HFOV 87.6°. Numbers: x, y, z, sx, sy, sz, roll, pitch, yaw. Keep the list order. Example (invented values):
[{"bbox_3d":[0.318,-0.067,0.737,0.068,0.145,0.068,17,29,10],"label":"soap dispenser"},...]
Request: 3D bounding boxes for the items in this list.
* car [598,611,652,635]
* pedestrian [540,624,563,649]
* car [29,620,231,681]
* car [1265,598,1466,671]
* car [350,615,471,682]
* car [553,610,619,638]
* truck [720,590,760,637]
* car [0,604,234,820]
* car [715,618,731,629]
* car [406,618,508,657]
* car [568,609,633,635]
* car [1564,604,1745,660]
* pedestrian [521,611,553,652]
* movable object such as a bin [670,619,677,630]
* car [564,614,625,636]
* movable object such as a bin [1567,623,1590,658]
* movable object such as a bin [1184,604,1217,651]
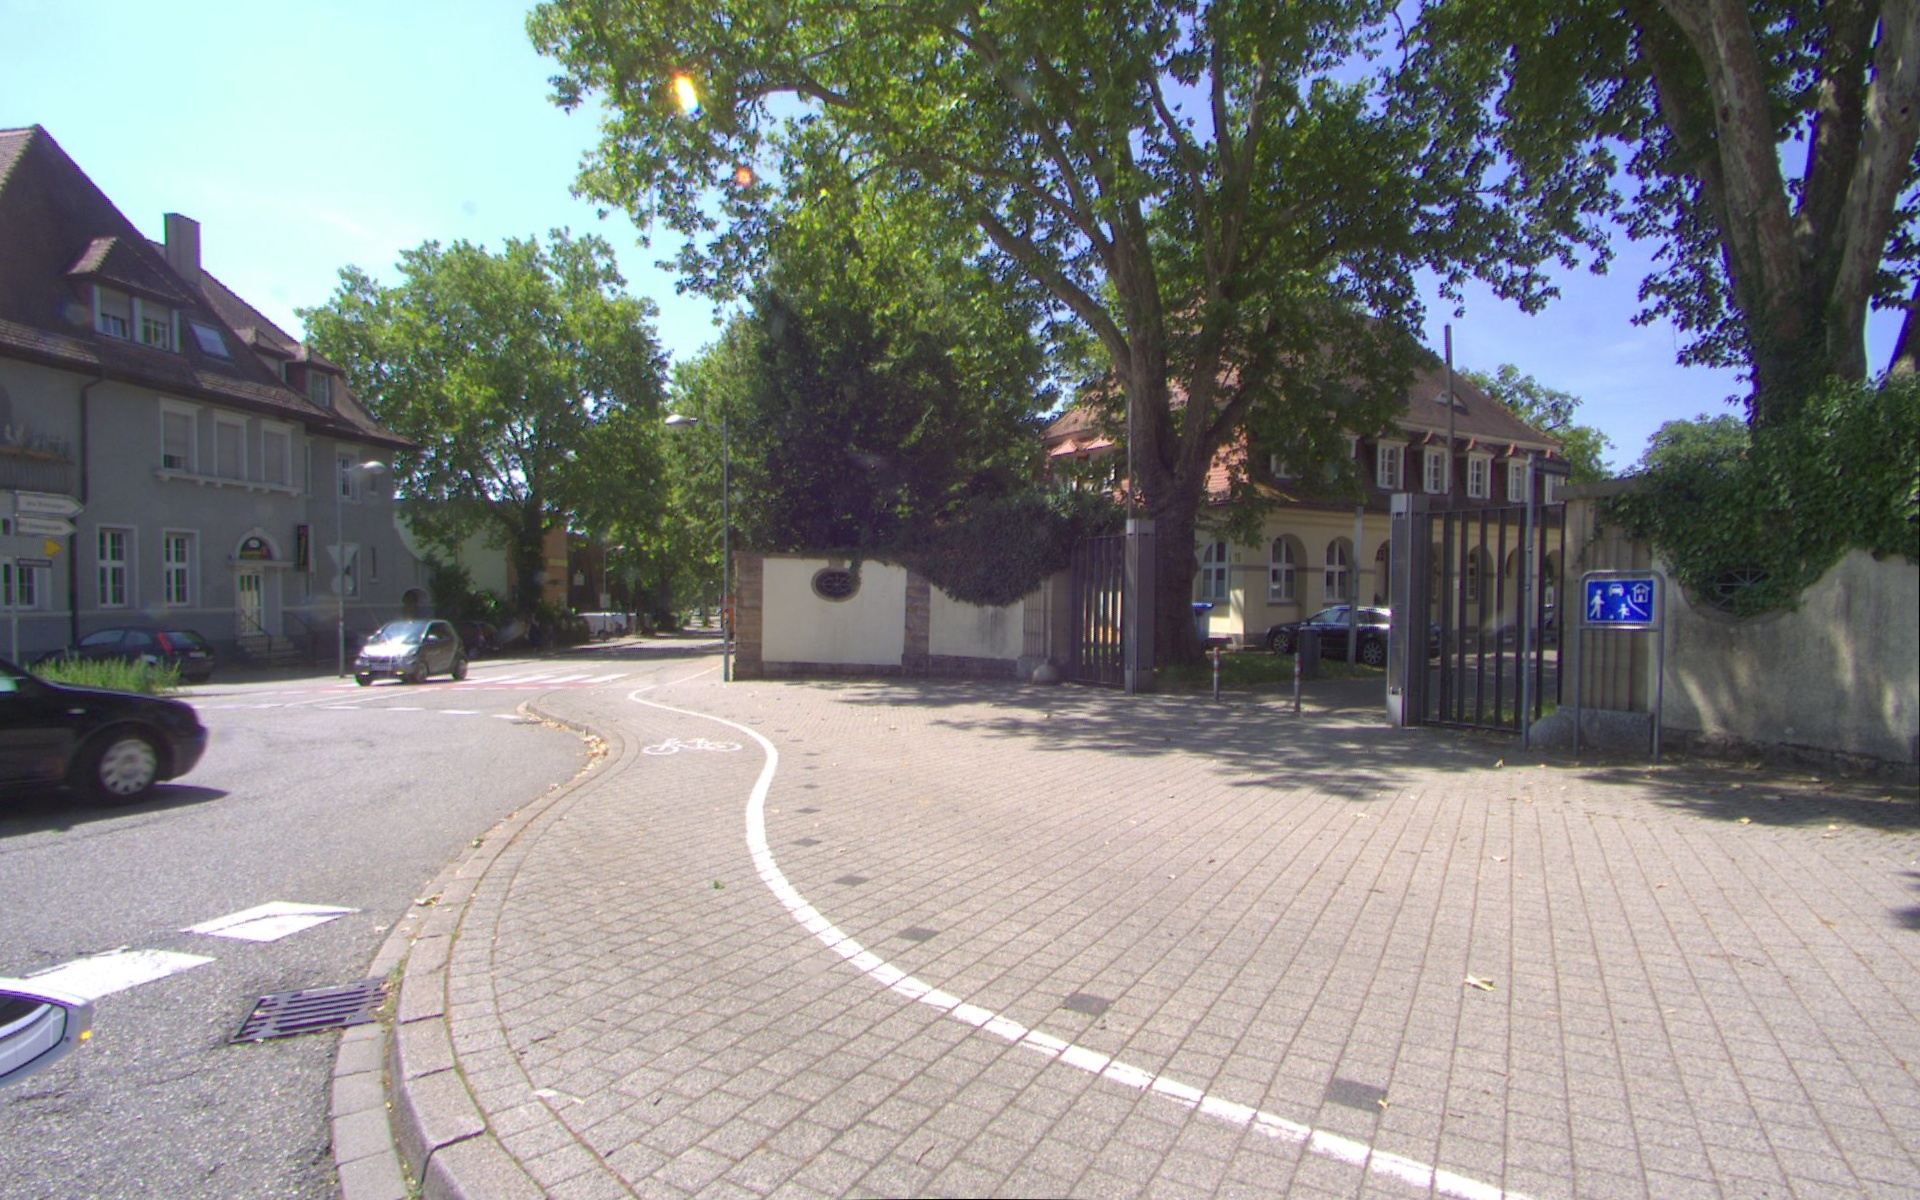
[{"bbox_3d":[-28.267,1.954,84.681,4.065,1.827,1.902,2,-1,-11],"label":"car"},{"bbox_3d":[-19.343,1.717,47.424,0.742,1.136,0.897,0,-1,-5],"label":"pedestrian"},{"bbox_3d":[-20.838,1.251,25.246,3.719,1.479,1.724,0,-1,2],"label":"car"},{"bbox_3d":[10.334,0.818,25.869,1.972,1.423,4.472,0,4,-31],"label":"car"},{"bbox_3d":[-13.476,1.161,24.716,1.539,1.550,2.789,0,-1,-2],"label":"car"},{"bbox_3d":[-25.945,1.684,69.587,3.926,1.816,1.867,2,-1,-11],"label":"car"},{"bbox_3d":[-15.469,1.042,70.692,2.333,3.173,5.769,0,-2,-8],"label":"truck"},{"bbox_3d":[-7.533,0.751,6.725,1.686,1.466,4.050,1,-1,20],"label":"car"},{"bbox_3d":[-29.978,2.960,126.766,1.741,1.444,4.390,0,-1,-11],"label":"car"},{"bbox_3d":[-20.598,1.521,41.093,3.326,1.567,1.724,0,-1,2],"label":"car"},{"bbox_3d":[-27.467,1.668,76.577,4.355,1.827,1.902,2,-1,-11],"label":"car"},{"bbox_3d":[23.035,1.013,33.401,1.972,1.423,4.472,0,4,-31],"label":"car"},{"bbox_3d":[-18.525,1.374,43.885,0.857,1.765,1.112,0,0,4],"label":"pedestrian"},{"bbox_3d":[-29.440,2.501,102.903,0.613,1.062,0.620,0,0,-1],"label":"movable object such as a bin"},{"bbox_3d":[-26.991,1.857,73.998,3.926,1.535,1.867,2,-1,-11],"label":"car"},{"bbox_3d":[18.274,1.194,29.568,0.530,1.021,0.525,0,0,27],"label":"movable object such as a bin"},{"bbox_3d":[6.931,0.787,28.907,0.661,1.314,0.672,0,0,-41],"label":"movable object such as a bin"}]
